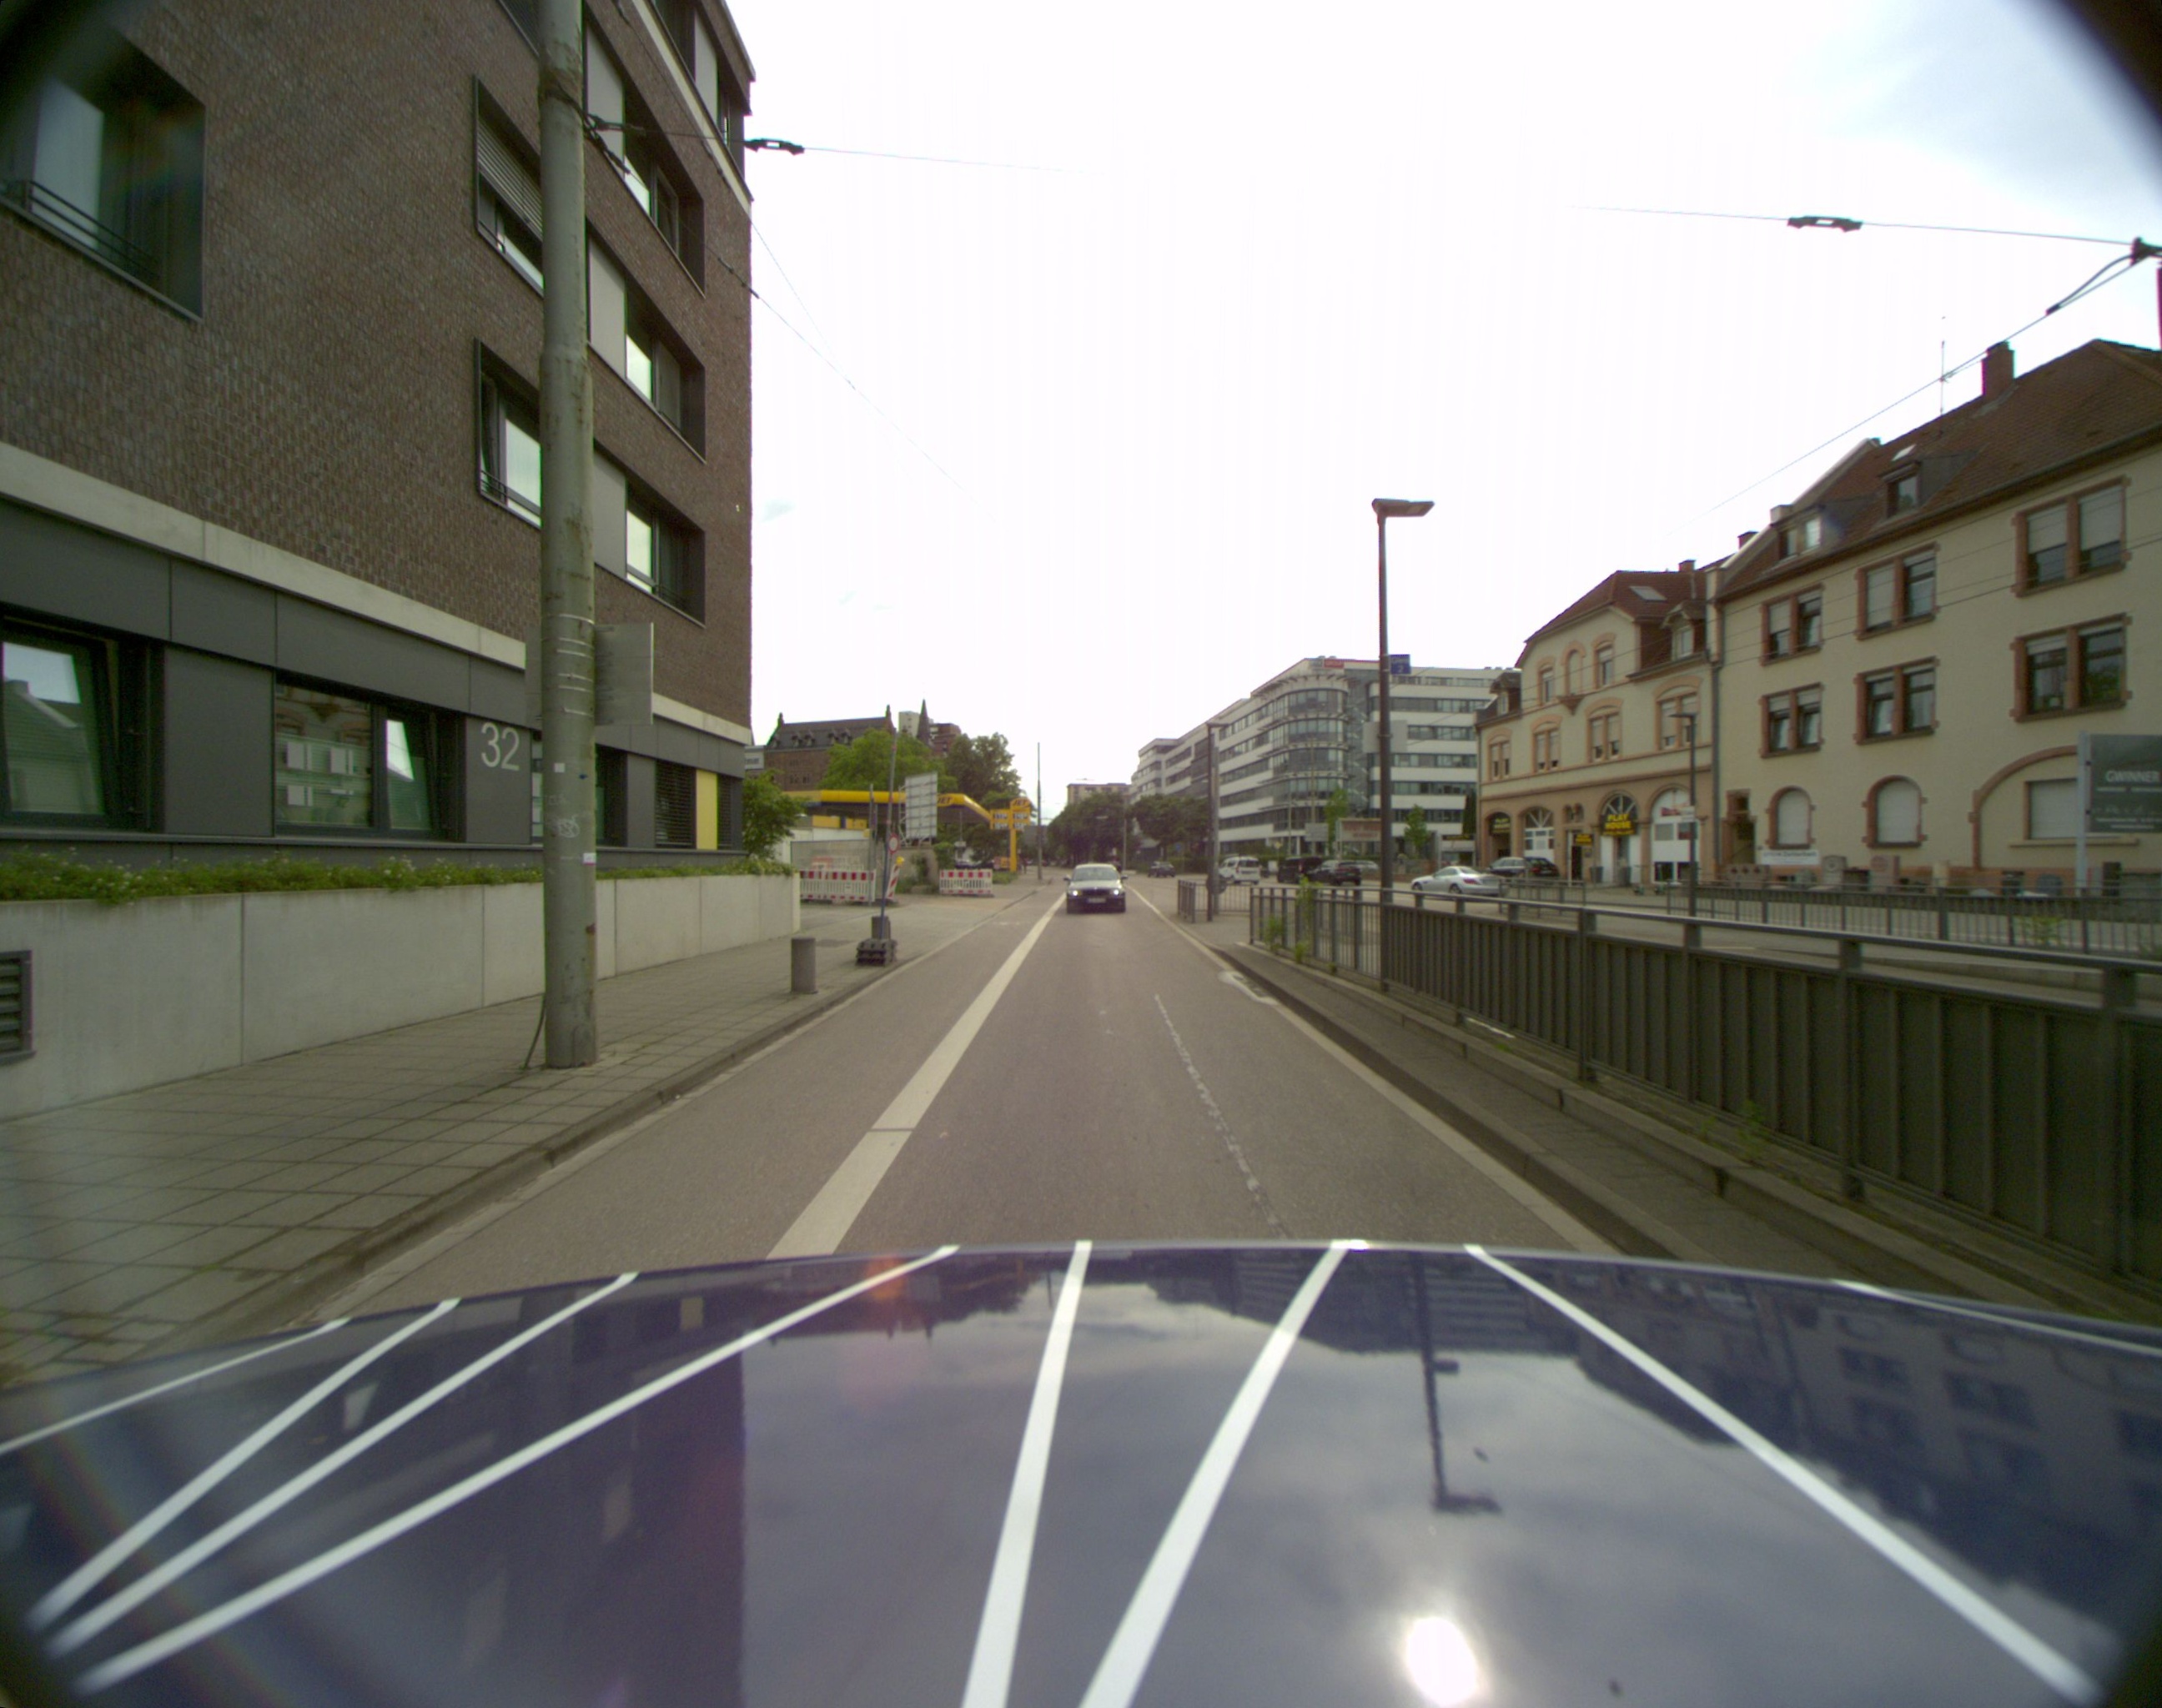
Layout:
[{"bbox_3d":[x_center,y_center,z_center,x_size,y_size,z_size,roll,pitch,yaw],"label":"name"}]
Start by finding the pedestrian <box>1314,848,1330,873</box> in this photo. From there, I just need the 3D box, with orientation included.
[{"bbox_3d":[18.369,0.490,57.974,0.806,1.814,1.059,-1,1,-2],"label":"pedestrian"}]

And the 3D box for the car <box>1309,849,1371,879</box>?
[{"bbox_3d":[16.575,0.651,48.893,2.043,1.739,4.532,-2,0,-6],"label":"car"}]

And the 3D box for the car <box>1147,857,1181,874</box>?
[{"bbox_3d":[7.557,1.043,69.469,1.888,1.420,4.420,0,0,-10],"label":"car"}]

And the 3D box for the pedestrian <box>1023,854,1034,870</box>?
[{"bbox_3d":[-6.046,0.949,88.026,0.871,1.738,0.848,2,1,-32],"label":"pedestrian"}]

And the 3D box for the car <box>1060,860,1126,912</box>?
[{"bbox_3d":[0.382,0.904,23.145,1.786,1.361,4.113,-1,0,2],"label":"car"}]

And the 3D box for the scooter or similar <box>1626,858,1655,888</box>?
[{"bbox_3d":[21.541,0.708,29.255,1.180,1.095,0.526,-2,1,-33],"label":"scooter or similar"}]

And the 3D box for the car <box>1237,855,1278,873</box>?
[{"bbox_3d":[15.328,0.879,65.930,1.790,1.521,4.150,2,0,38],"label":"car"}]

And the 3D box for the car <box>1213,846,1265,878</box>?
[{"bbox_3d":[10.313,0.496,50.011,1.890,1.977,4.521,0,0,-9],"label":"car"}]

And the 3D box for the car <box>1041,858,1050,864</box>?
[{"bbox_3d":[-9.486,1.849,201.154,1.848,1.714,4.403,-1,0,-10],"label":"car"}]

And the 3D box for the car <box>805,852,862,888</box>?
[{"bbox_3d":[-11.983,0.720,36.613,2.003,1.628,3.940,0,1,-27],"label":"car"}]

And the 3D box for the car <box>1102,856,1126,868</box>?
[{"bbox_3d":[4.078,0.942,94.063,1.911,1.464,4.815,1,0,-10],"label":"car"}]

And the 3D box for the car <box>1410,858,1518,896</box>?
[{"bbox_3d":[14.238,0.799,28.486,1.756,1.291,3.830,0,0,-8],"label":"car"}]

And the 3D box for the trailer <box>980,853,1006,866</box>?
[{"bbox_3d":[-11.394,0.659,98.247,3.292,1.523,1.772,1,2,-6],"label":"trailer"}]

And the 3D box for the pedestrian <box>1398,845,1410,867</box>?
[{"bbox_3d":[26.092,0.170,61.424,0.636,1.764,0.761,-1,1,0],"label":"pedestrian"}]

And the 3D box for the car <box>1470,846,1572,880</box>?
[{"bbox_3d":[21.935,0.410,38.157,1.999,1.484,4.900,-4,1,-4],"label":"car"}]

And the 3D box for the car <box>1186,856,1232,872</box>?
[{"bbox_3d":[12.242,0.905,72.811,3.975,1.443,1.820,0,1,42],"label":"car"}]

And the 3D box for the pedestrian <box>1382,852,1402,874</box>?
[{"bbox_3d":[29.289,0.858,71.525,1.217,2.002,1.186,0,0,-19],"label":"pedestrian"}]

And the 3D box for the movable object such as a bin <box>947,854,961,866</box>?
[{"bbox_3d":[-14.610,0.726,87.415,1.118,1.312,1.162,-1,1,28],"label":"movable object such as a bin"}]

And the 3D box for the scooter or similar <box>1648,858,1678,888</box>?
[{"bbox_3d":[21.804,0.707,28.468,1.180,1.095,0.526,-2,1,-33],"label":"scooter or similar"}]

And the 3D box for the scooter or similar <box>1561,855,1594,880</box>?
[{"bbox_3d":[22.721,0.611,34.803,1.178,1.095,0.527,-3,1,-8],"label":"scooter or similar"}]

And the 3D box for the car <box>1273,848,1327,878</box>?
[{"bbox_3d":[15.728,0.613,54.876,1.992,2.002,5.182,-2,1,-5],"label":"car"}]
